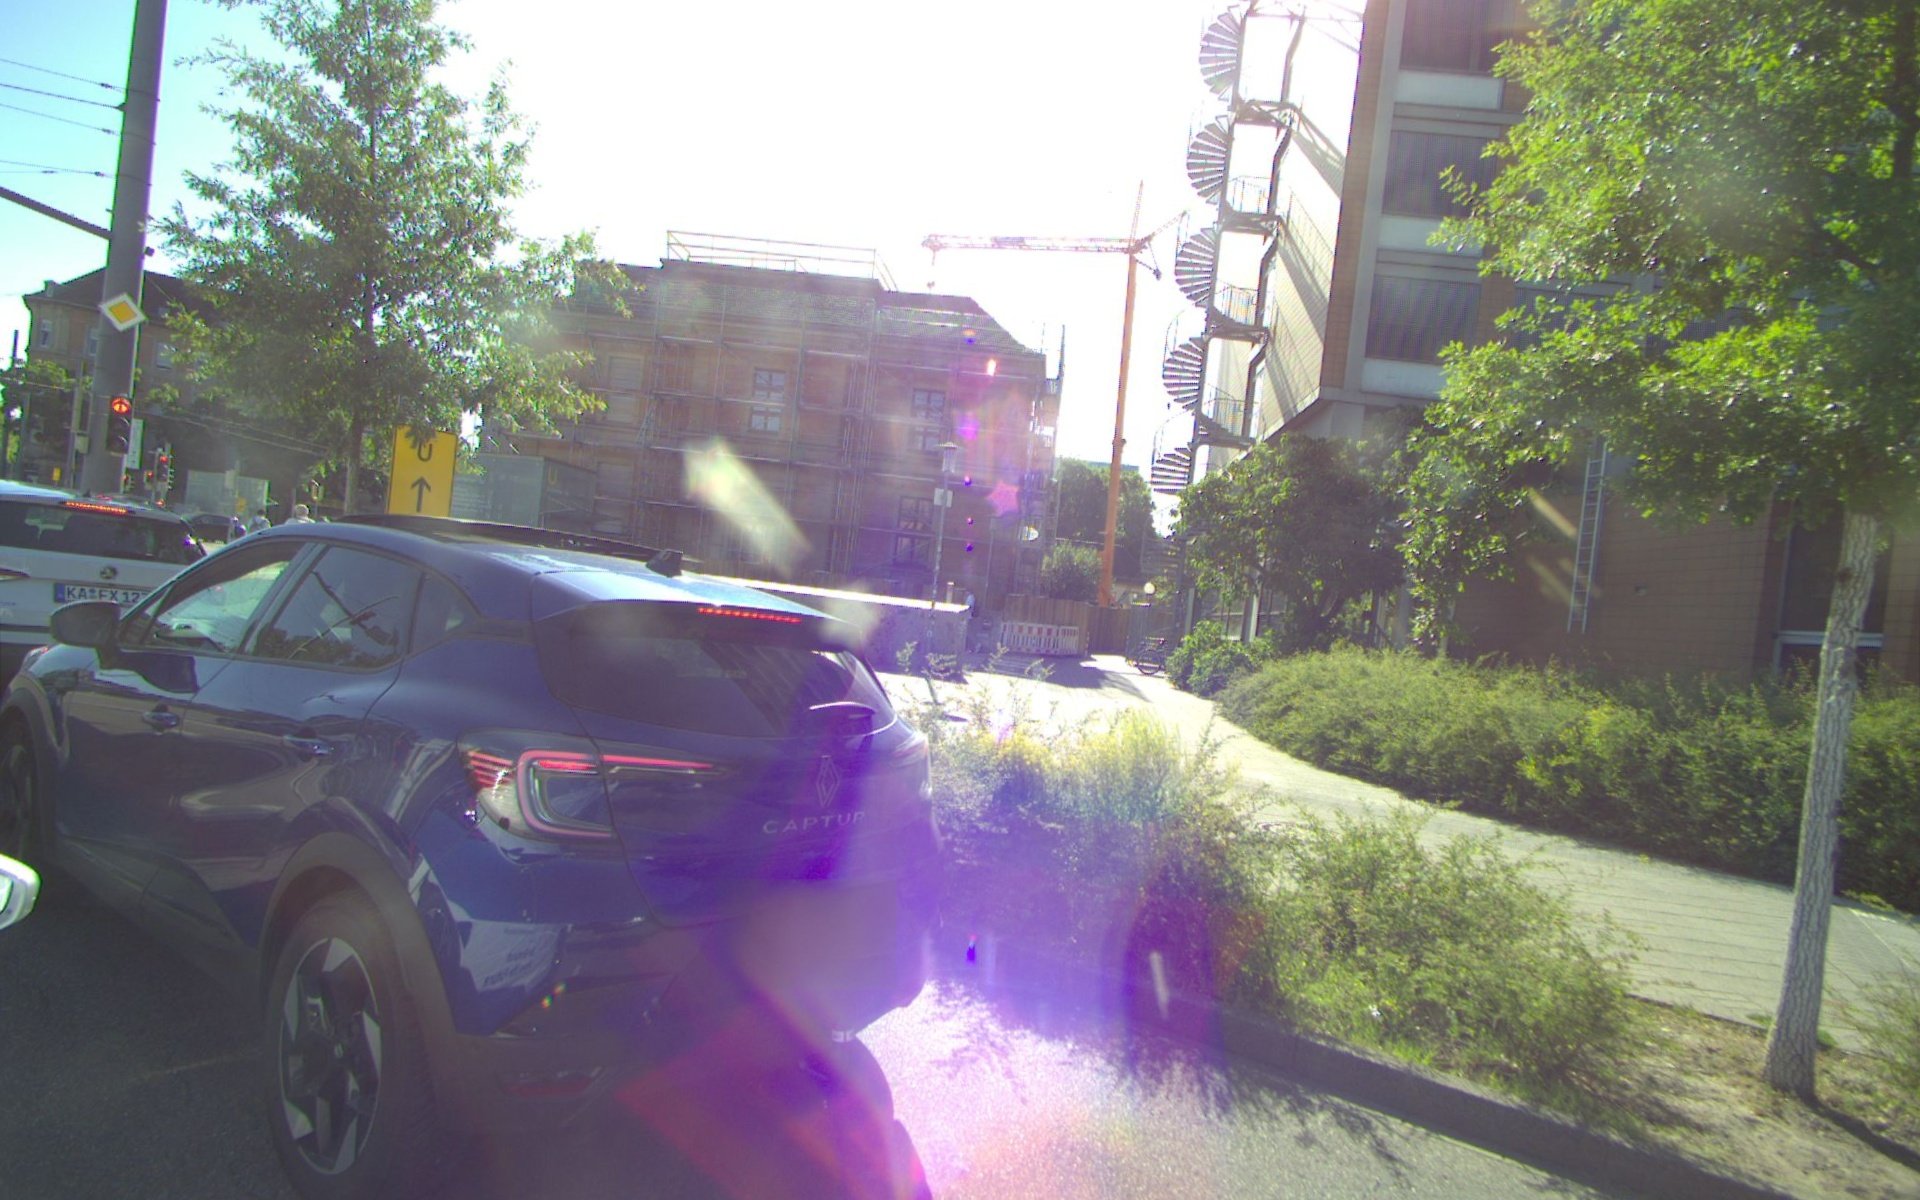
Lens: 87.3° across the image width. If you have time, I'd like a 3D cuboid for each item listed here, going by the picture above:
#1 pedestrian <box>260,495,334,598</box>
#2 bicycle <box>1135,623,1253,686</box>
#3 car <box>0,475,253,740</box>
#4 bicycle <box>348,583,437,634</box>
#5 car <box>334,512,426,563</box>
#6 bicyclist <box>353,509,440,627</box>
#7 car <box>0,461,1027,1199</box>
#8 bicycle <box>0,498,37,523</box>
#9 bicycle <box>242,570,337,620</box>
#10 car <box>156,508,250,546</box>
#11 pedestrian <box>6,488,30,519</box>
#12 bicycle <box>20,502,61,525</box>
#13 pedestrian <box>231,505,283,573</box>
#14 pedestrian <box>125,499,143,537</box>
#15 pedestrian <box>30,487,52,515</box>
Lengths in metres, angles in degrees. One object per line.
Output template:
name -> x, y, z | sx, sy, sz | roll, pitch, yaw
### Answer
pedestrian -> -10.926, -0.871, 16.577 | 0.843, 1.582, 0.549 | 7, 1, 27
bicycle -> 6.596, 1.535, 28.495 | 3.079, 1.394, 0.798 | 7, 0, 12
car -> -7.498, -0.103, 7.888 | 4.228, 1.662, 1.696 | 6, 0, 34
bicycle -> -9.233, 0.133, 16.360 | 1.442, 0.664, 0.537 | 7, 1, 28
car -> -39.810, -4.242, 69.296 | 2.103, 2.778, 5.926 | 7, 0, 7
bicyclist -> -9.155, -0.514, 16.356 | 0.908, 1.802, 0.748 | 7, 2, 28
car -> -1.990, 0.497, 3.706 | 4.019, 1.625, 1.702 | 7, -1, 34
bicycle -> -51.280, -4.864, 54.745 | 0.539, 1.134, 2.014 | 6, 0, -13
bicycle -> -11.083, -0.087, 16.624 | 1.695, 0.664, 0.537 | 7, 3, 28
car -> -42.088, -4.020, 56.046 | 1.672, 1.521, 4.266 | 7, 0, 4
pedestrian -> -51.215, -5.243, 54.702 | 0.539, 1.536, 0.704 | 6, 0, -13
bicycle -> -53.577, -5.039, 58.652 | 0.540, 1.134, 2.018 | 6, 0, -3
pedestrian -> -20.691, -1.781, 29.609 | 0.886, 1.883, 0.923 | 6, 1, -20
pedestrian -> -46.465, -4.621, 56.582 | 0.443, 2.039, 0.462 | 7, 1, 18
pedestrian -> -53.493, -5.756, 58.562 | 0.538, 1.536, 0.706 | 6, 0, -3
